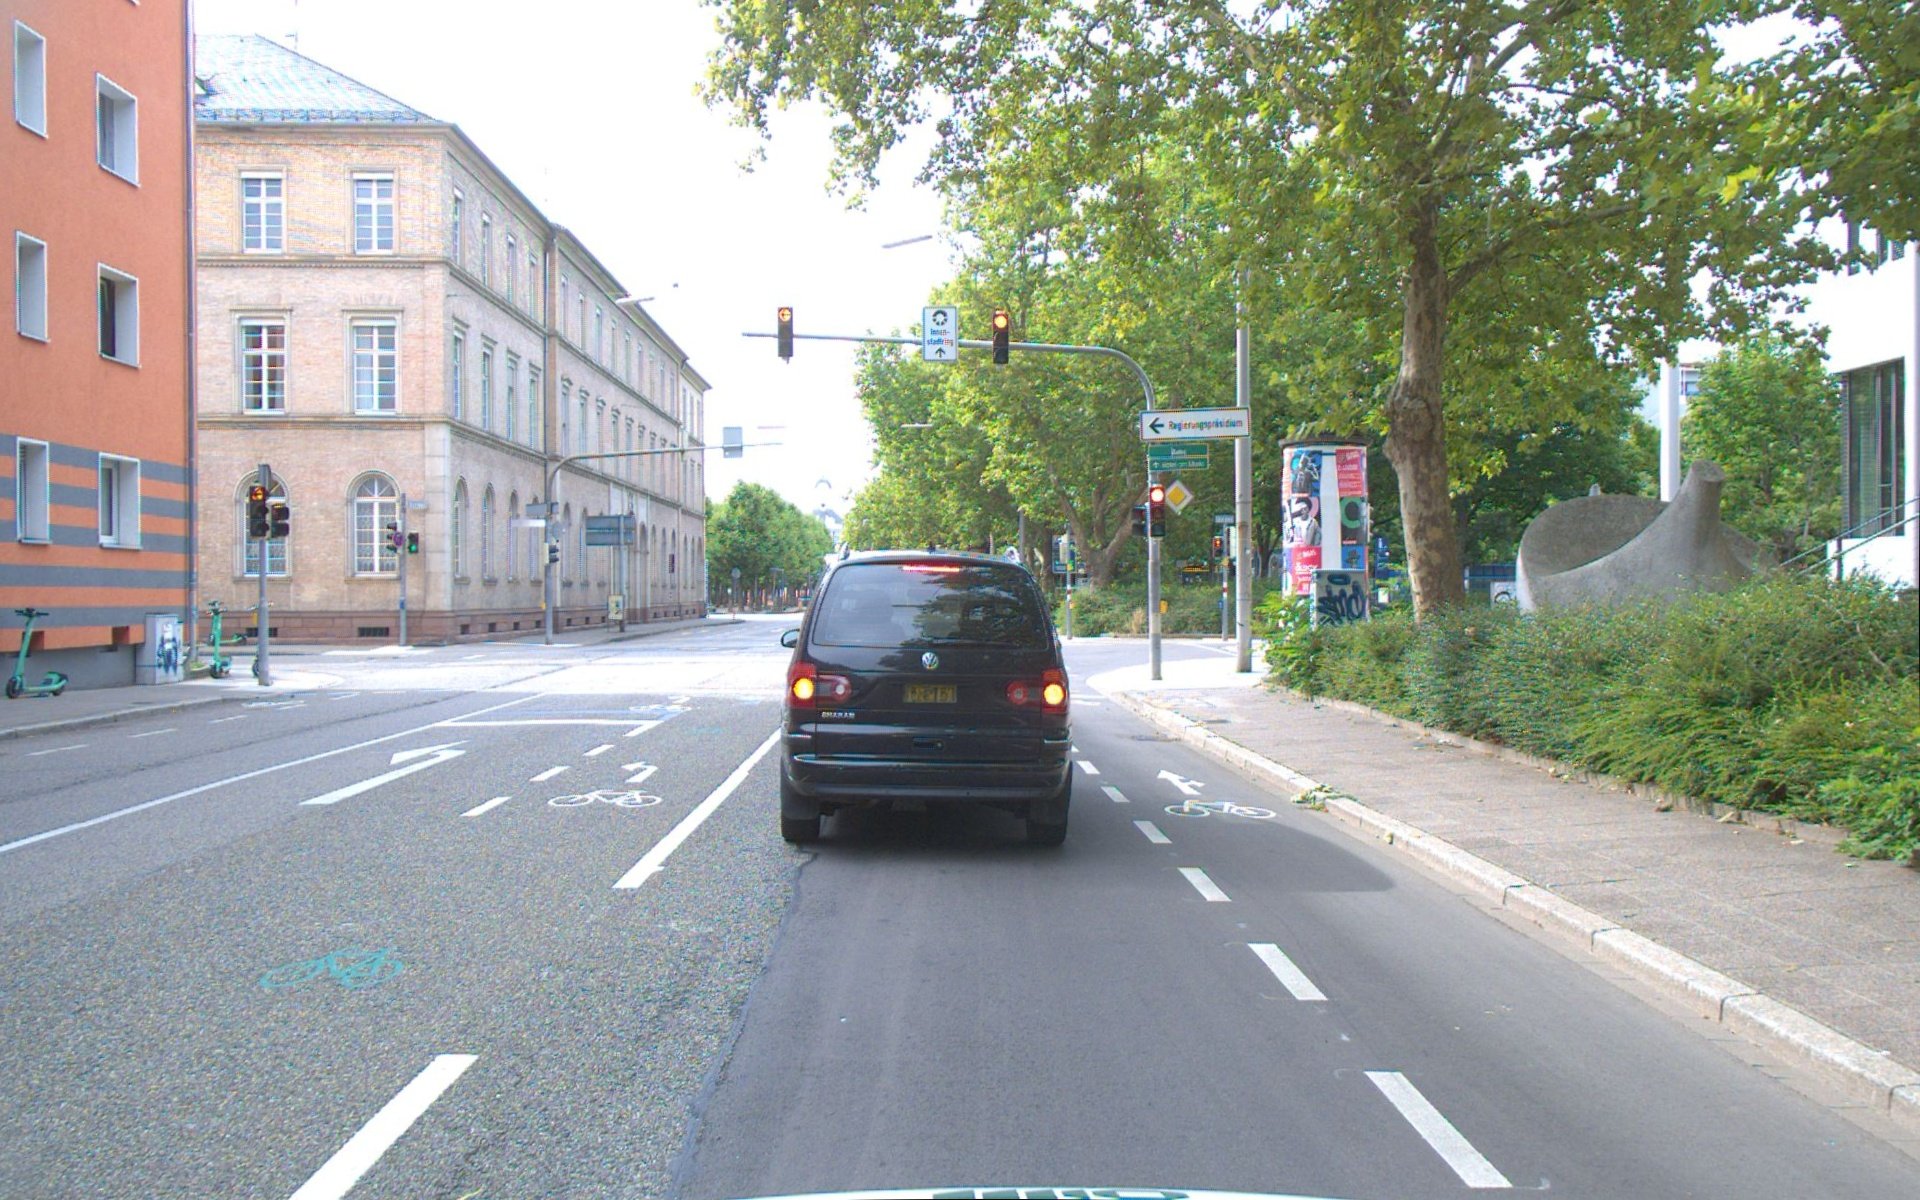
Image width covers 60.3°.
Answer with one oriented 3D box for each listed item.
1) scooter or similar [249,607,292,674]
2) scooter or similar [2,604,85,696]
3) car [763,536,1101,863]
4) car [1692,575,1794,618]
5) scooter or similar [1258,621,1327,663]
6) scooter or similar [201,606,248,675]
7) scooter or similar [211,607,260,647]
[{"bbox_3d":[-12.121,0.709,29.100,0.370,1.164,1.140,0,-1,-5],"label":"scooter or similar"},{"bbox_3d":[-12.357,0.668,22.331,0.370,1.204,1.389,0,-1,-2],"label":"scooter or similar"},{"bbox_3d":[-0.141,0.522,11.276,1.835,1.775,4.573,0,0,0],"label":"car"},{"bbox_3d":[31.337,-0.150,66.303,1.922,1.680,4.150,0,0,-4],"label":"car"},{"bbox_3d":[6.105,0.773,30.403,1.194,0.749,0.369,0,0,-2],"label":"scooter or similar"},{"bbox_3d":[-12.685,0.698,28.539,0.370,1.167,1.140,0,-1,-5],"label":"scooter or similar"},{"bbox_3d":[-19.146,0.715,43.710,1.115,1.068,0.379,0,-1,-2],"label":"scooter or similar"}]
